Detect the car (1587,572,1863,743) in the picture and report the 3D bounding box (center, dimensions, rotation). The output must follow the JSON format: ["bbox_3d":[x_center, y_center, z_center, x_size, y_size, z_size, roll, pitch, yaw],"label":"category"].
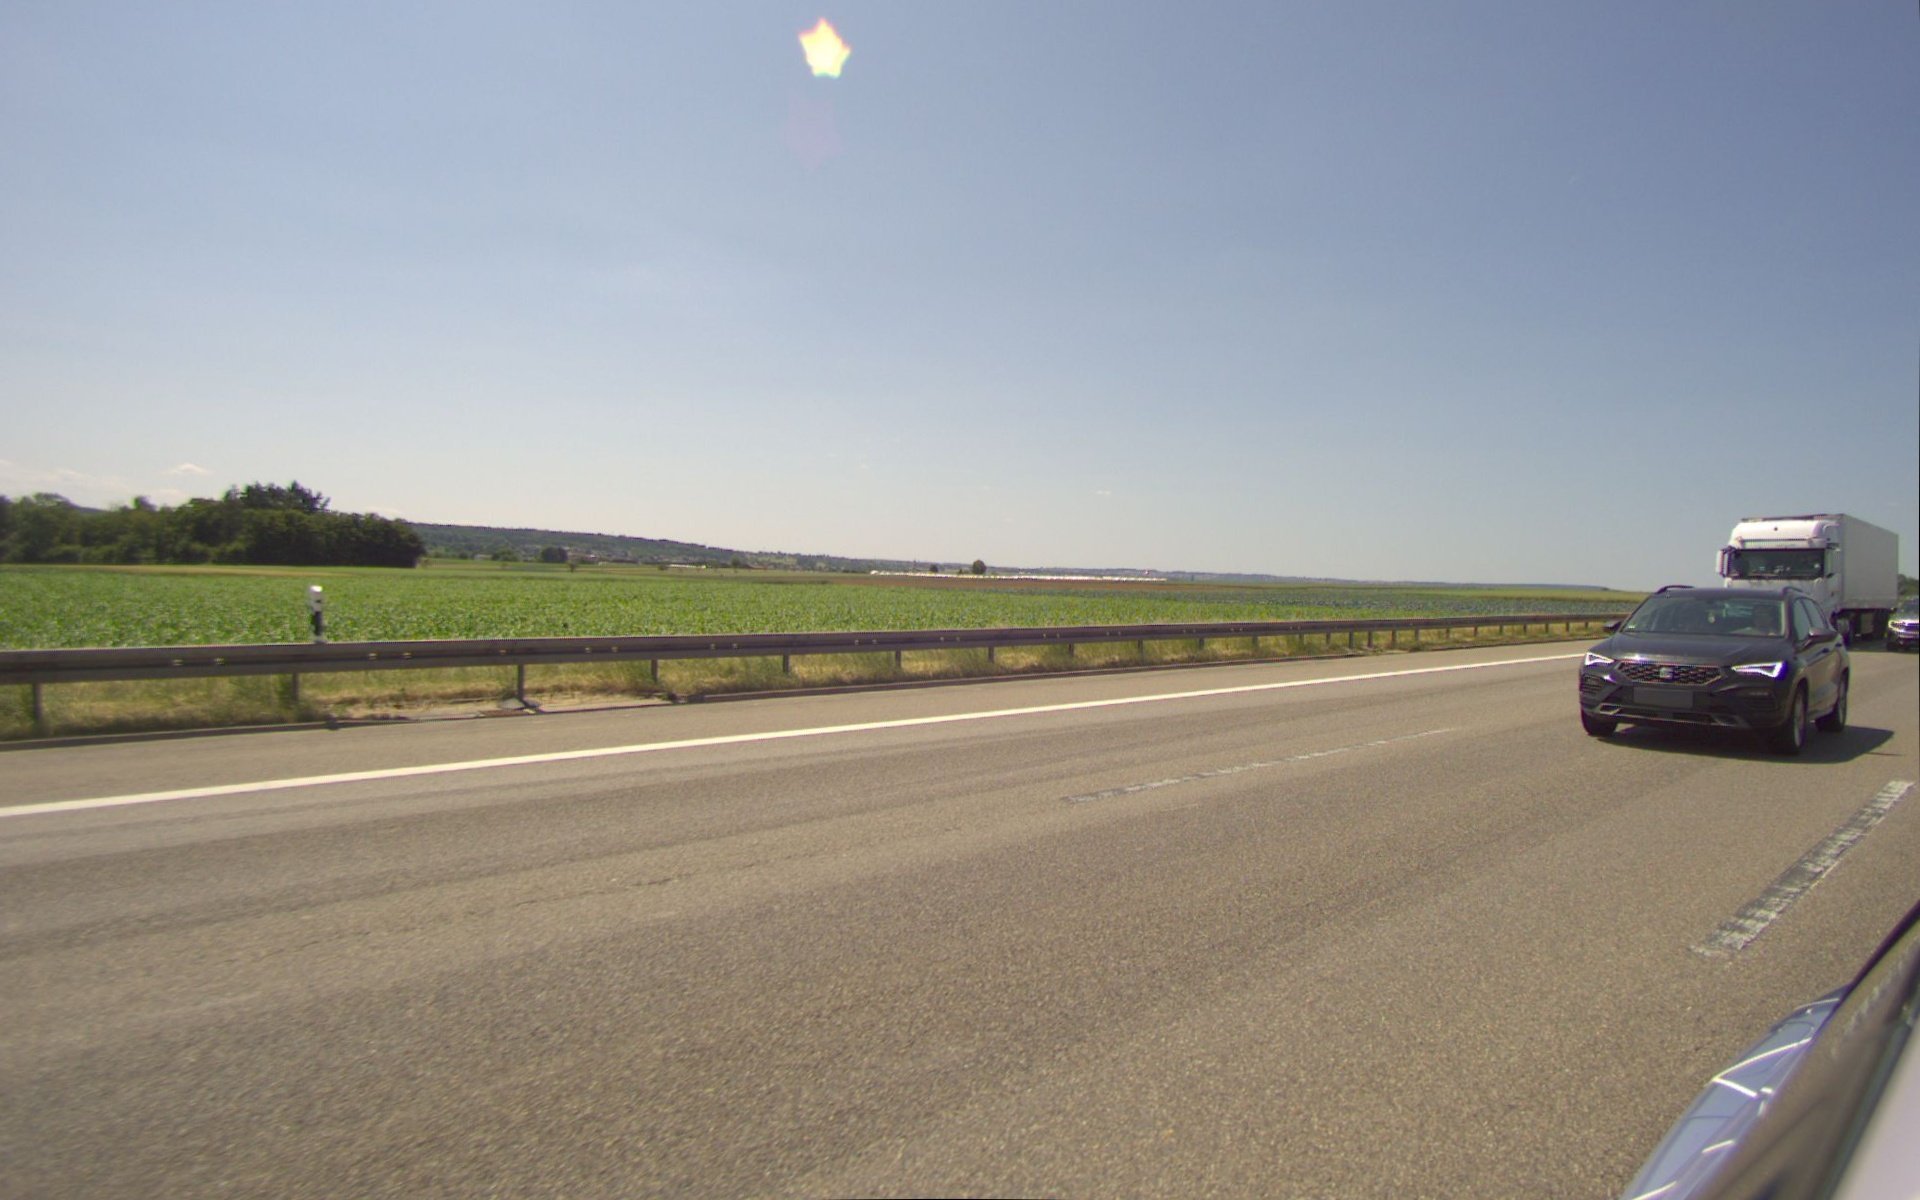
[{"bbox_3d":[8.617,0.513,11.290,3.758,1.581,1.799,-1,0,-42],"label":"car"}]

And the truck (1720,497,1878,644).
[{"bbox_3d":[26.519,-0.872,31.868,6.761,4.143,2.867,0,0,-42],"label":"truck"}]

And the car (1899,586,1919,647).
[{"bbox_3d":[28.052,0.478,28.576,4.564,1.669,1.854,1,0,-42],"label":"car"}]

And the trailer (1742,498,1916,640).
[{"bbox_3d":[31.040,-0.980,35.833,13.063,4.273,2.872,-1,0,-41],"label":"trailer"}]
